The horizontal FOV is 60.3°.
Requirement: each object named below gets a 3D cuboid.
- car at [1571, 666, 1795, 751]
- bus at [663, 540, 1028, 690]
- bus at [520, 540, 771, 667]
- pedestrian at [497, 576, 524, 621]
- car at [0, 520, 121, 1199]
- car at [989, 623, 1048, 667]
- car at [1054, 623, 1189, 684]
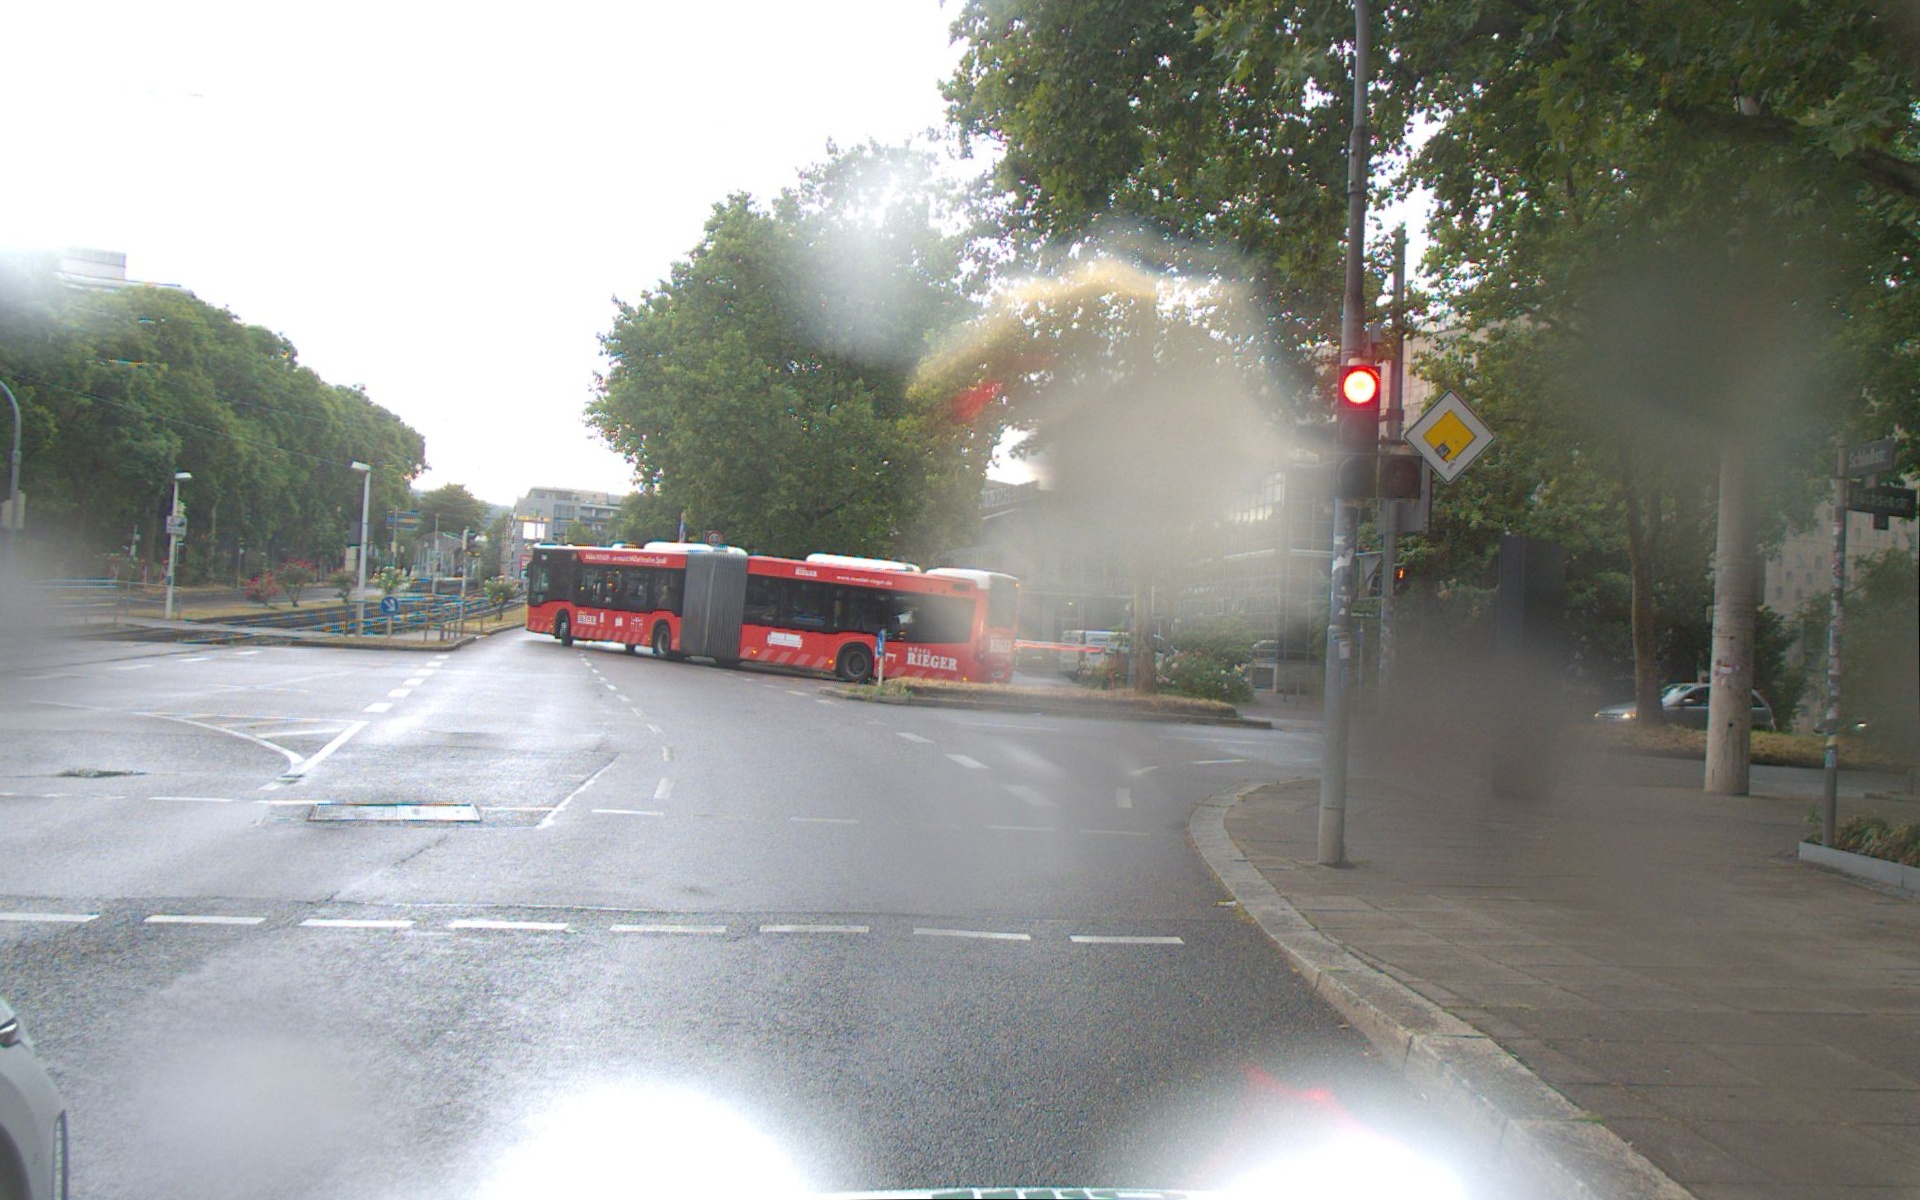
[{"bbox_3d":[15.547,2.326,35.680,3.912,1.467,1.997,4,-1,-7],"label":"car"},{"bbox_3d":[-3.005,0.353,42.327,8.975,3.165,2.661,4,-1,25],"label":"bus"},{"bbox_3d":[-9.255,-0.006,47.569,2.536,3.165,9.313,5,-2,-41],"label":"bus"},{"bbox_3d":[-17.099,-0.060,62.948,0.724,1.668,0.869,4,-2,-6],"label":"pedestrian"},{"bbox_3d":[-2.240,0.659,0.666,1.645,1.604,4.252,2,0,-1],"label":"car"},{"bbox_3d":[2.996,2.310,85.355,1.959,2.049,3.987,4,-1,-13],"label":"car"},{"bbox_3d":[6.150,2.032,63.028,4.682,1.977,1.986,5,-2,-23],"label":"car"}]
